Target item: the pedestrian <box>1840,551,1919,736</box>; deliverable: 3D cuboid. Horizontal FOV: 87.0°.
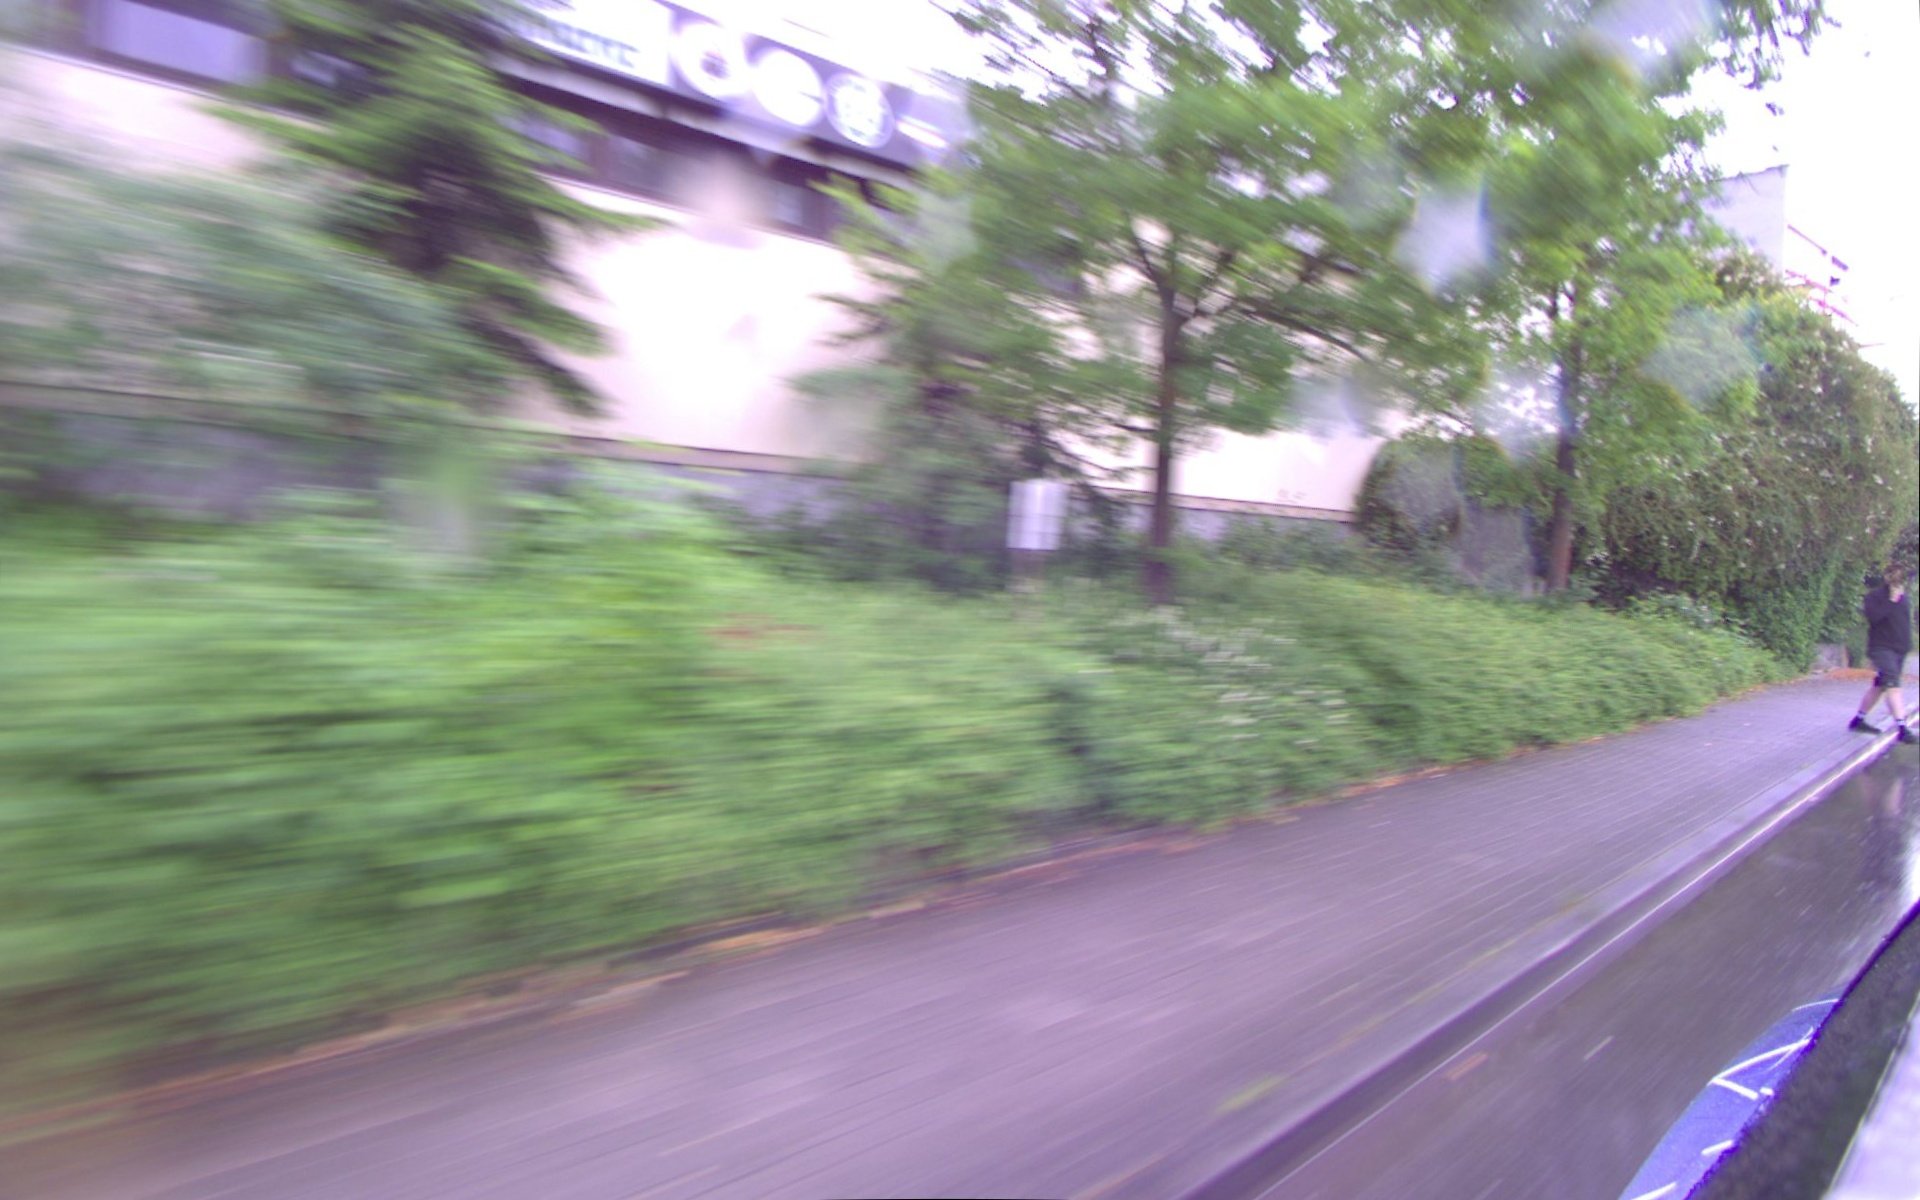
[{"bbox_3d":[9.925,0.441,10.711,0.875,1.860,0.746,1,2,-43],"label":"pedestrian"}]
